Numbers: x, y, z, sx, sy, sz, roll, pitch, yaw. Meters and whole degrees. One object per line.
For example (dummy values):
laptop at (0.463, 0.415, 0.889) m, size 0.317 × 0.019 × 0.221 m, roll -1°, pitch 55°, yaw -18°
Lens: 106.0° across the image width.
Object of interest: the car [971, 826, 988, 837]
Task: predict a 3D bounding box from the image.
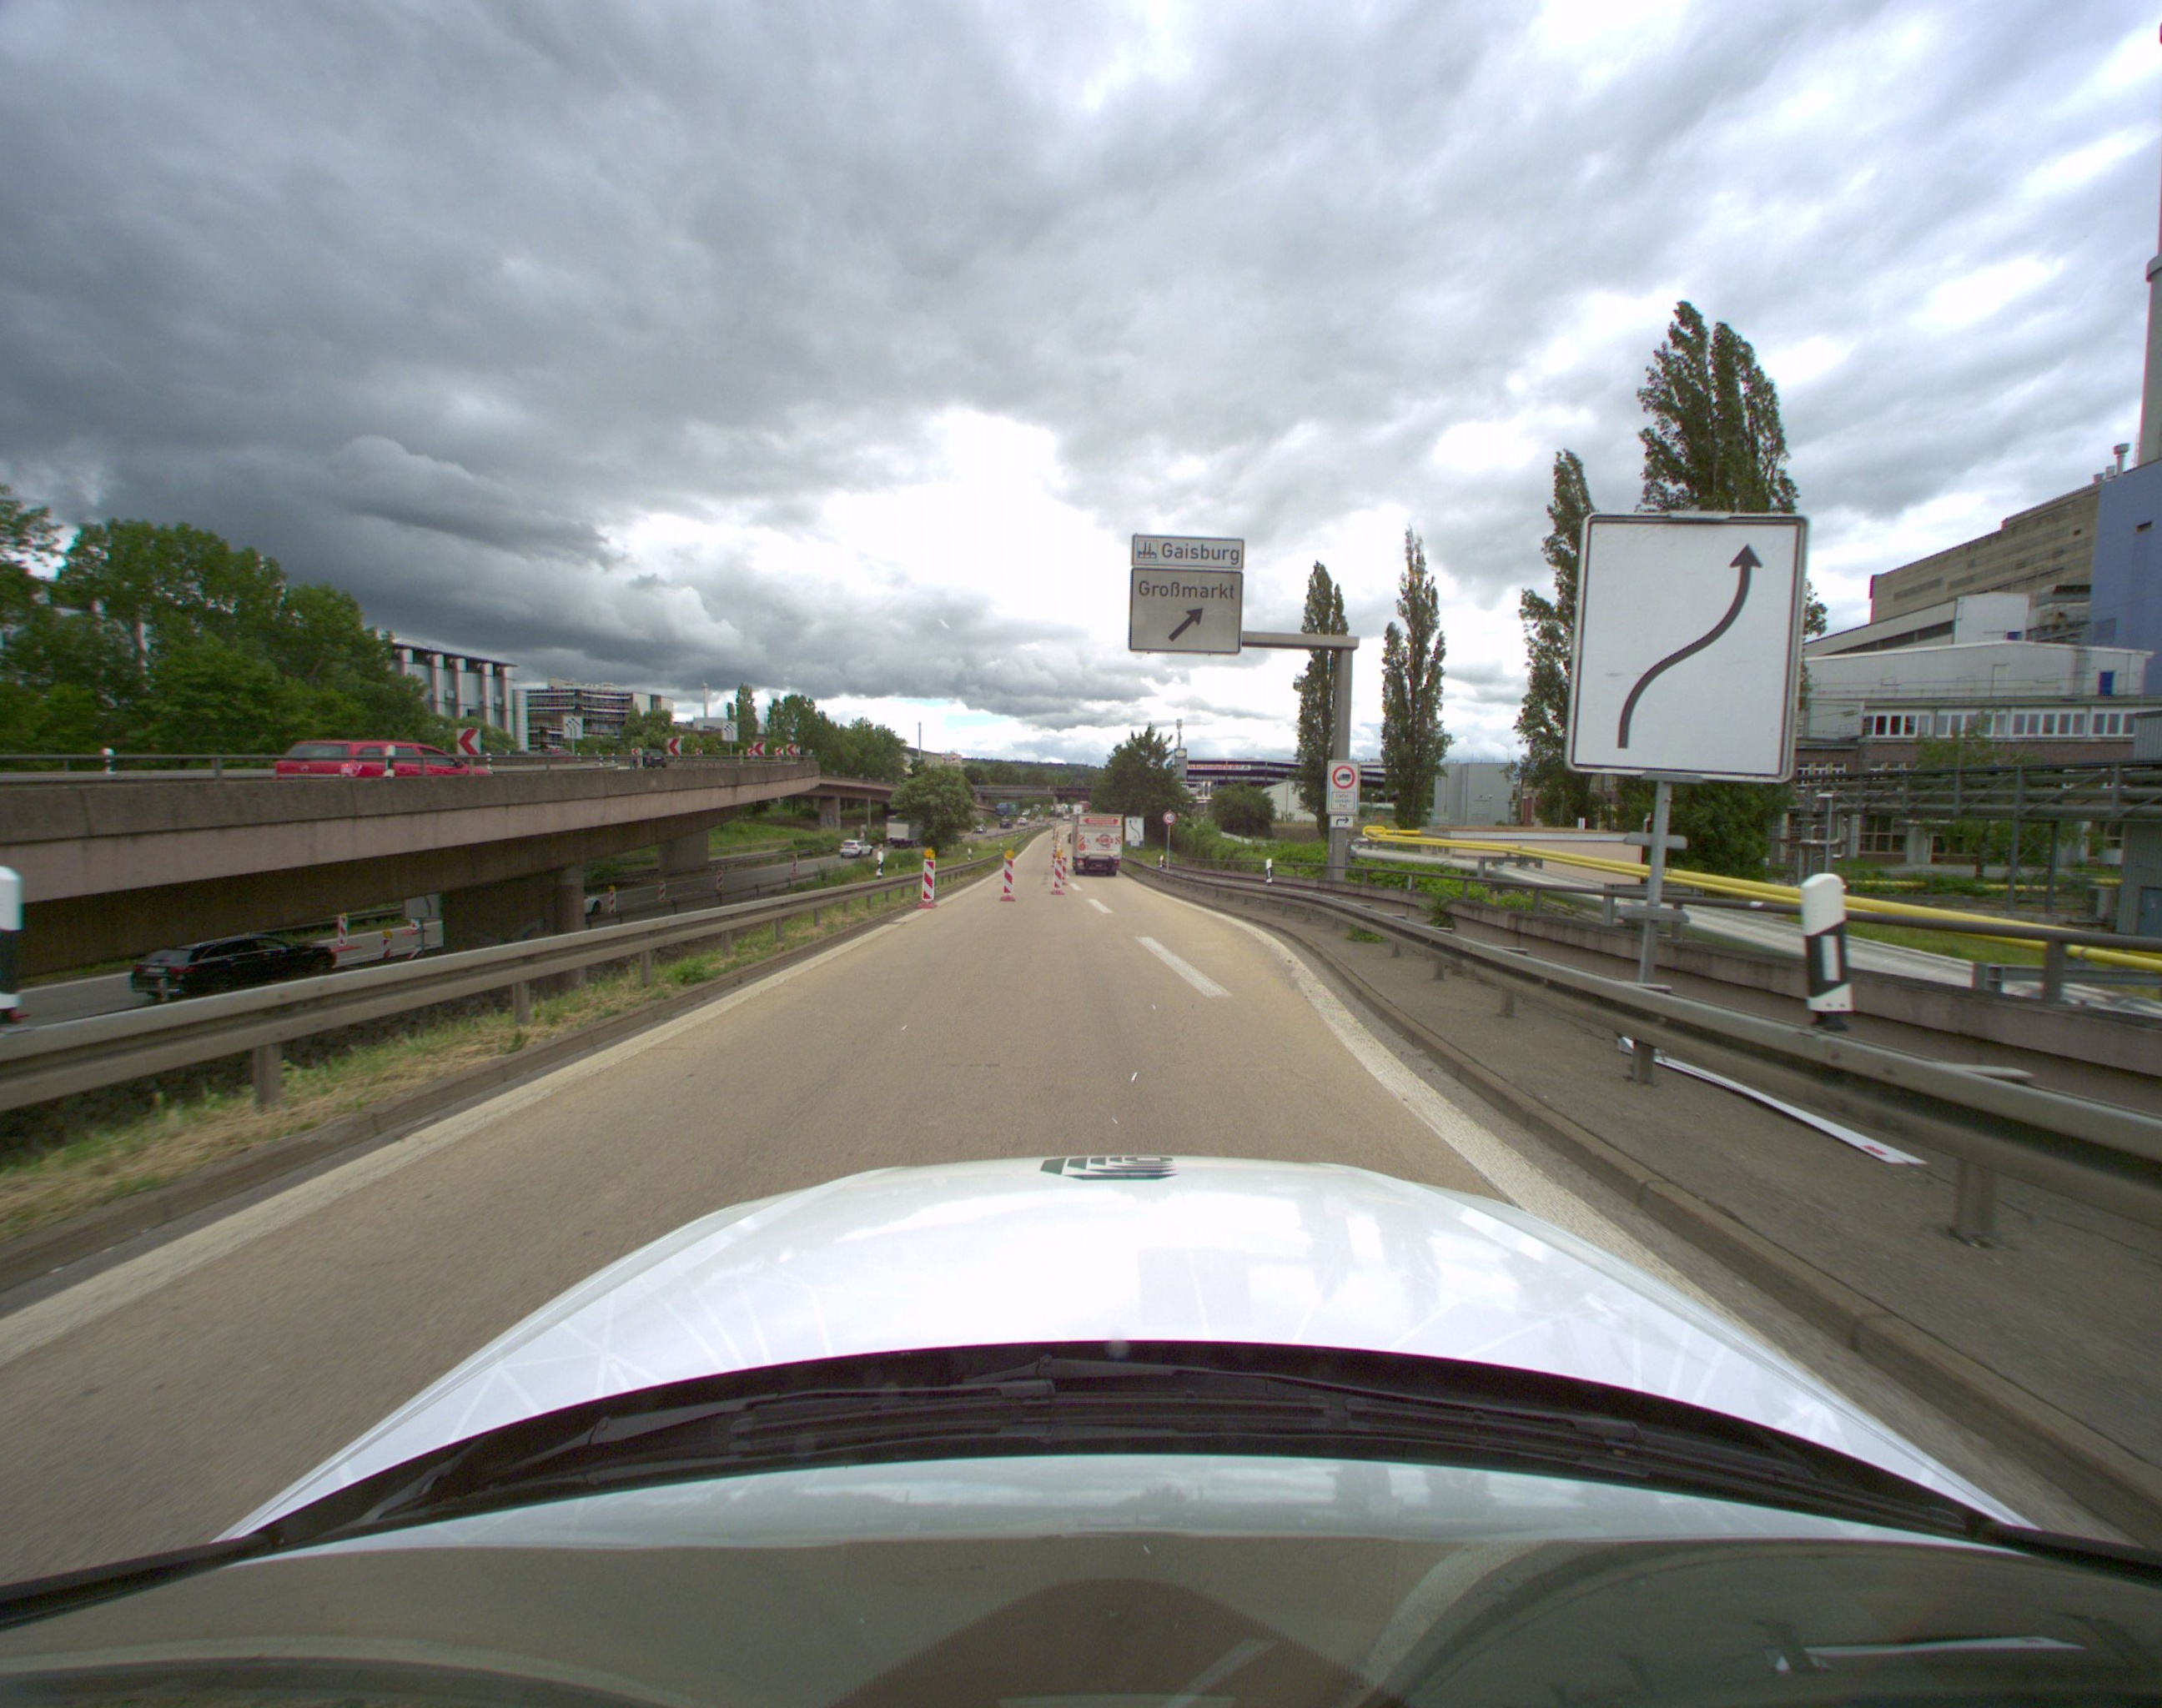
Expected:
car at (-16.195, -3.675, 130.477) m, size 1.985 × 1.617 × 4.005 m, roll 2°, pitch 3°, yaw 3°

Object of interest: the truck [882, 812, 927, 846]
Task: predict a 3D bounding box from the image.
truck at (-20.273, -2.988, 93.946) m, size 3.037 × 3.654 × 7.406 m, roll 2°, pitch 3°, yaw 4°

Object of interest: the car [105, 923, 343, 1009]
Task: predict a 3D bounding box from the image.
car at (-25.596, 3.263, 24.631) m, size 2.026 × 1.614 × 4.589 m, roll 2°, pitch 3°, yaw 7°

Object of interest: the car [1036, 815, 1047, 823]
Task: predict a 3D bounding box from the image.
car at (-9.052, -8.048, 185.869) m, size 1.985 × 1.617 × 4.005 m, roll 2°, pitch 3°, yaw 3°

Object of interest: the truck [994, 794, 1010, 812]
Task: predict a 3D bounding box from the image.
truck at (-18.870, -12.246, 194.824) m, size 2.738 × 4.270 × 5.516 m, roll 2°, pitch 3°, yaw 7°

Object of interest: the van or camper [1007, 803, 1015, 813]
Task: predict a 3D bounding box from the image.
van or camper at (-20.103, -13.219, 233.009) m, size 1.731 × 2.636 × 4.060 m, roll 2°, pitch 3°, yaw 3°

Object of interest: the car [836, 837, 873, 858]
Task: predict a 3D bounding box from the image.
car at (-21.818, -0.643, 78.631) m, size 1.983 × 1.712 × 4.111 m, roll 2°, pitch 3°, yaw 7°

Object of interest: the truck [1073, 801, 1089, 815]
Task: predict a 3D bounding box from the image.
truck at (-0.033, -12.837, 226.607) m, size 3.268 × 3.598 × 7.684 m, roll 2°, pitch 3°, yaw 8°

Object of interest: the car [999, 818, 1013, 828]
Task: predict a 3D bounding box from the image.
car at (-13.745, -5.667, 149.359) m, size 1.985 × 1.617 × 4.005 m, roll 2°, pitch 3°, yaw 3°

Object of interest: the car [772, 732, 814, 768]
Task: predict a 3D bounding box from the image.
car at (-18.680, -6.691, 52.707) m, size 2.005 × 1.772 × 3.964 m, roll 0°, pitch 0°, yaw -28°

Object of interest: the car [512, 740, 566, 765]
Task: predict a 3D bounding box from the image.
car at (-46.229, -8.636, 69.467) m, size 3.951 × 1.772 × 2.011 m, roll 1°, pitch 0°, yaw 25°

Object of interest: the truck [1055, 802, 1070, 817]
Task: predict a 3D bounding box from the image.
truck at (-4.955, -12.071, 220.252) m, size 3.273 × 3.851 × 7.674 m, roll 2°, pitch 3°, yaw 3°

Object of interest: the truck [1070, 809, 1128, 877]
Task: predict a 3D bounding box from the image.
truck at (0.942, -0.834, 48.839) m, size 3.042 × 3.671 × 7.926 m, roll 1°, pitch 3°, yaw -1°

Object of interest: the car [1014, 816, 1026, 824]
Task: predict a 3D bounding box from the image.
car at (-12.378, -6.868, 165.184) m, size 1.985 × 1.617 × 4.005 m, roll 2°, pitch 3°, yaw 3°
